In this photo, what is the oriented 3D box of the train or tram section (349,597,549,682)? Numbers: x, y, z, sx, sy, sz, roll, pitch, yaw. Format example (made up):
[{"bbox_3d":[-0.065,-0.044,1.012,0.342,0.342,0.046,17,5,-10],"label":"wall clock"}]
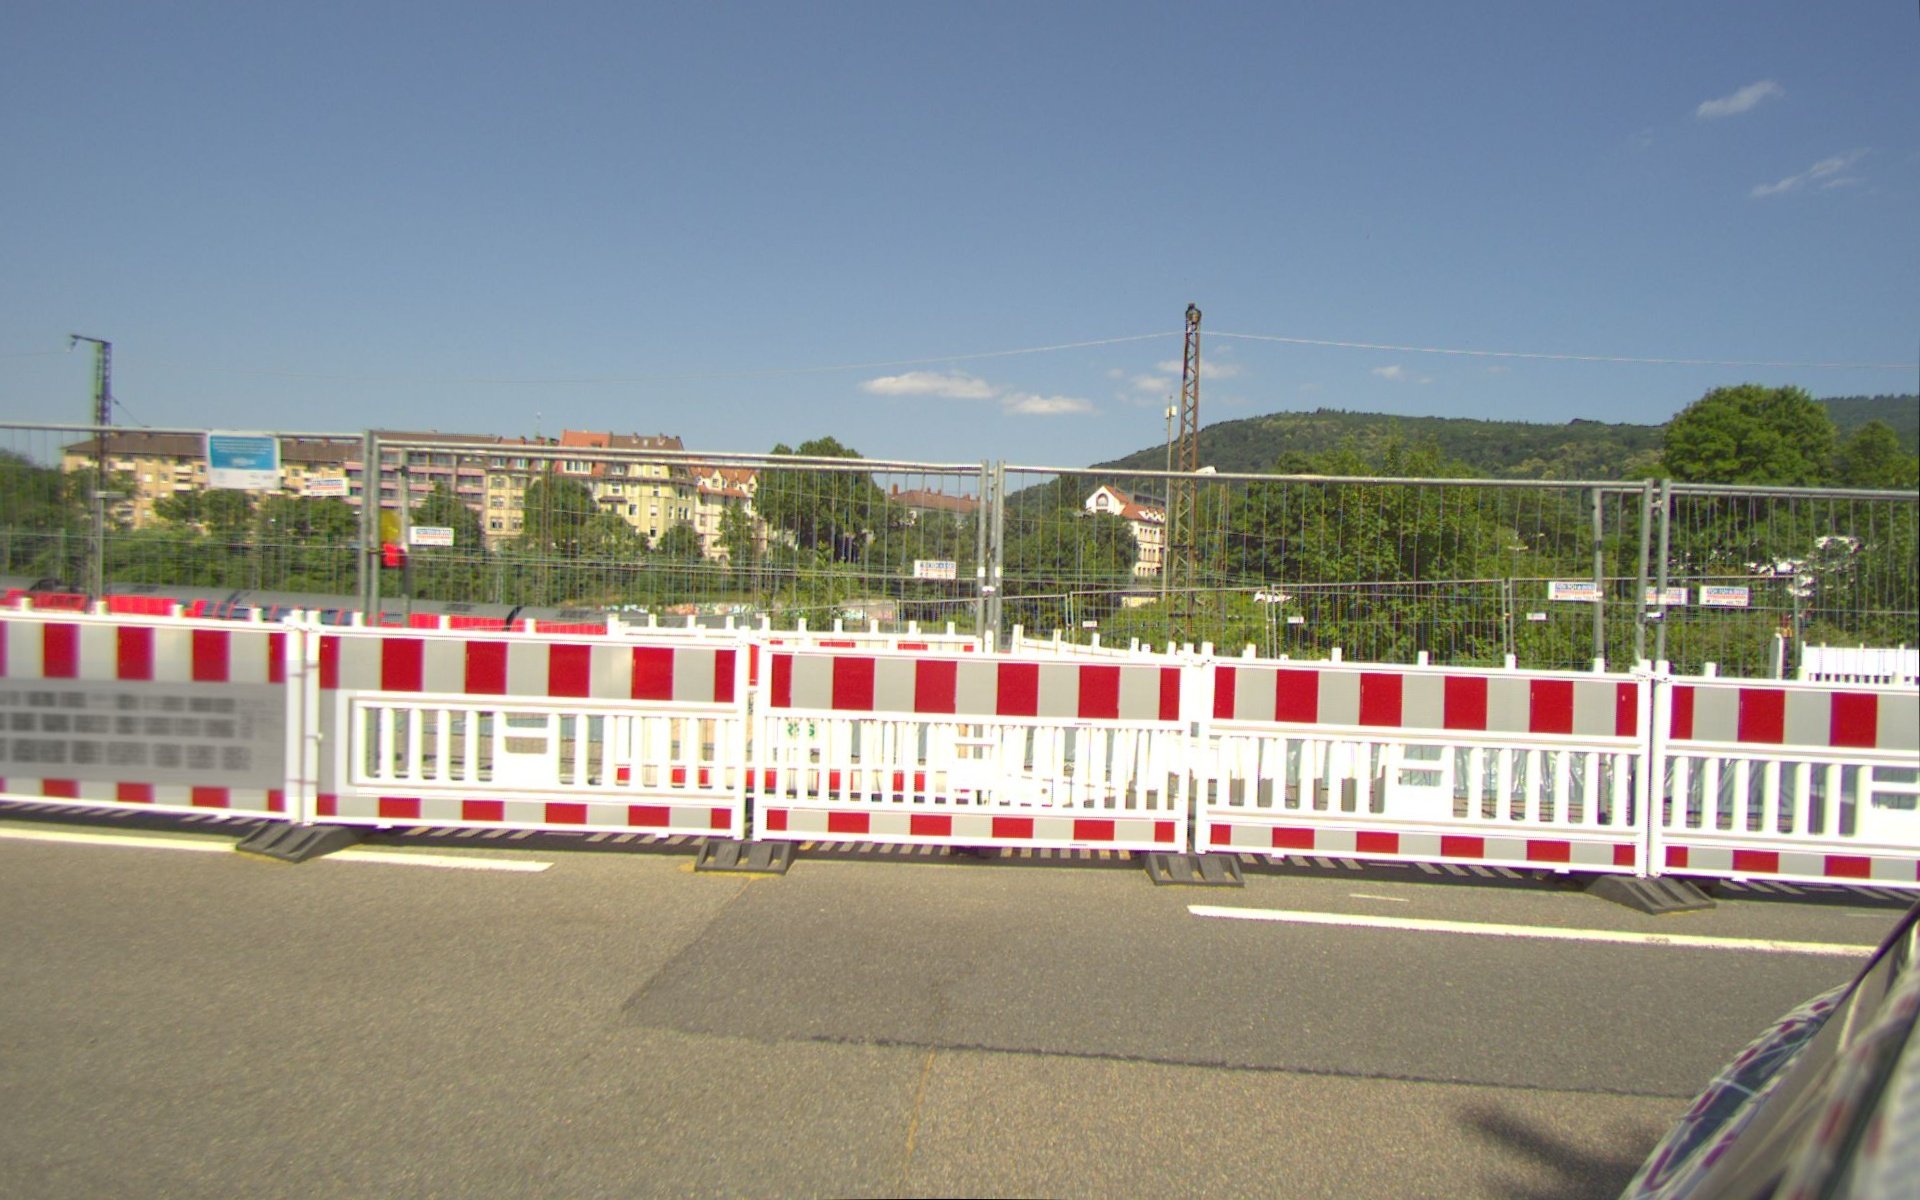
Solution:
[{"bbox_3d":[-24.739,1.853,49.047,8.842,3.751,3.010,1,-2,15],"label":"train or tram section"}]

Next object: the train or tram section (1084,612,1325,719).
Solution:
[{"bbox_3d":[9.500,2.478,39.860,8.841,3.749,3.010,1,-2,15],"label":"train or tram section"}]

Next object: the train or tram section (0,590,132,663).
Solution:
[{"bbox_3d":[-50.496,1.387,55.588,8.839,3.751,3.011,1,-2,14],"label":"train or tram section"}]

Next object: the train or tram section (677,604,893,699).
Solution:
[{"bbox_3d":[-7.651,2.177,44.462,8.842,3.760,3.010,1,-2,15],"label":"train or tram section"}]

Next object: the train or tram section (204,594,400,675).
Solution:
[{"bbox_3d":[-33.312,1.686,51.282,8.839,3.751,3.011,1,-2,14],"label":"train or tram section"}]

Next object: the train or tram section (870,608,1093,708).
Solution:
[{"bbox_3d":[0.937,2.318,42.156,8.842,3.762,3.010,1,-2,15],"label":"train or tram section"}]

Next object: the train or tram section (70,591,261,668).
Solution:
[{"bbox_3d":[-41.911,1.523,53.432,8.839,3.751,3.011,1,-2,14],"label":"train or tram section"}]

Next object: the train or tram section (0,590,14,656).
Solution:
[{"bbox_3d":[-59.043,1.225,57.682,8.837,3.751,3.011,1,-2,13],"label":"train or tram section"}]

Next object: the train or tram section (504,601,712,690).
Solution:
[{"bbox_3d":[-16.211,2.016,46.766,8.842,3.751,3.010,1,-2,15],"label":"train or tram section"}]
